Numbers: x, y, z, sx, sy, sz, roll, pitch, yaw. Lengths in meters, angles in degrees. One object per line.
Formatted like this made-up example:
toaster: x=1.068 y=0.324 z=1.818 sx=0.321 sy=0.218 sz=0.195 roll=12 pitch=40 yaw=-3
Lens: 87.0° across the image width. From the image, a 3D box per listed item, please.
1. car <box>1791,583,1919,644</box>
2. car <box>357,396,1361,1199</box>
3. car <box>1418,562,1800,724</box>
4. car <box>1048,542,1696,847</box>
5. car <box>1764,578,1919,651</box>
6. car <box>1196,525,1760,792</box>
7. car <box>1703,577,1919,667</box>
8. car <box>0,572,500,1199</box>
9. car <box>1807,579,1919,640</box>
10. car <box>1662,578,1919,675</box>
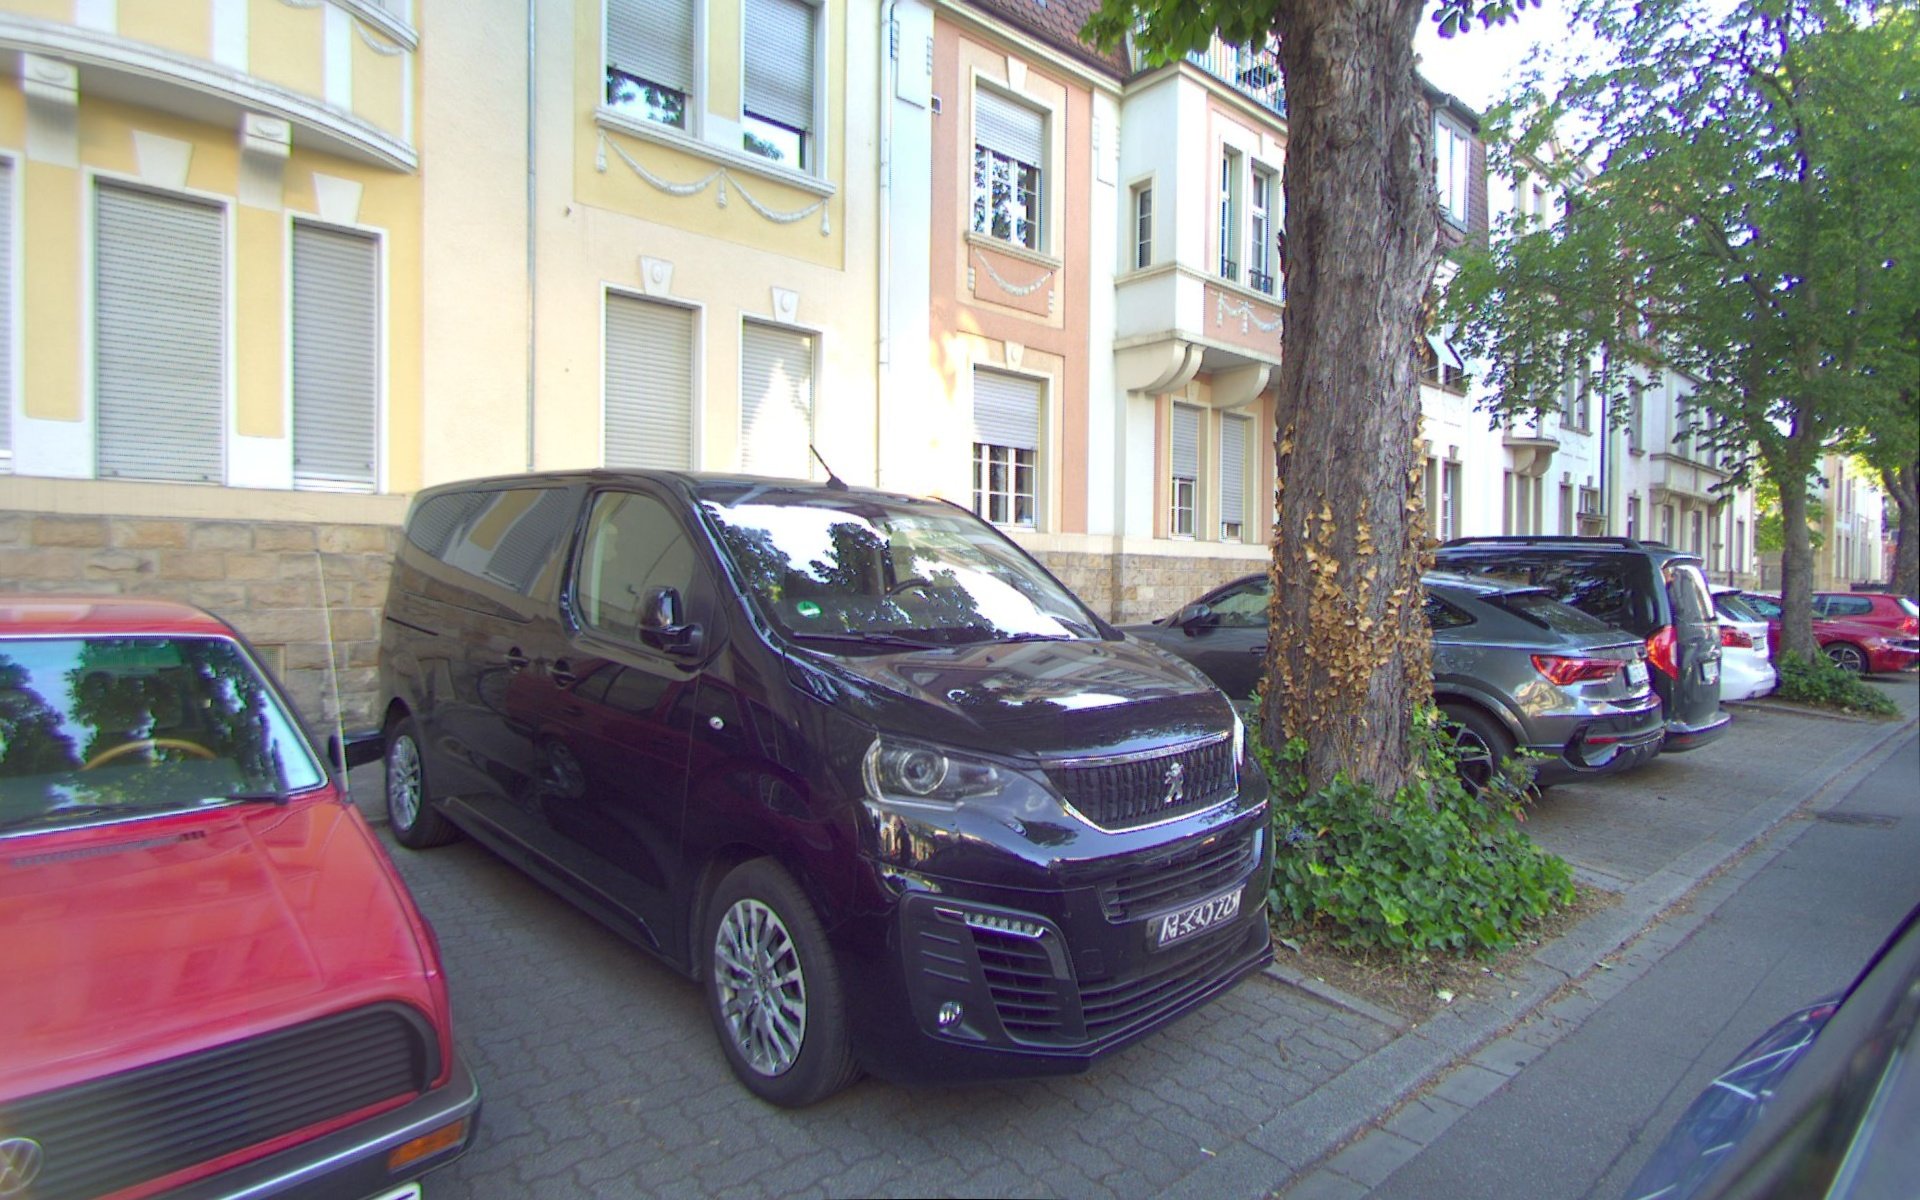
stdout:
car: x=23.972 y=0.338 z=26.151 sx=1.511 sy=1.420 sz=3.621 roll=0 pitch=3 yaw=-40
car: x=-0.994 y=0.348 z=4.526 sx=1.851 sy=1.846 sz=4.825 roll=-1 pitch=4 yaw=-44
car: x=7.712 y=0.388 z=12.256 sx=1.513 sy=1.569 sz=3.616 roll=-1 pitch=3 yaw=-45
car: x=2.762 y=0.416 z=7.534 sx=1.569 sy=1.611 sz=4.165 roll=-1 pitch=4 yaw=-44
car: x=21.618 y=0.320 z=24.088 sx=1.511 sy=1.584 sz=3.621 roll=0 pitch=2 yaw=-40
car: x=4.361 y=0.280 z=9.041 sx=1.569 sy=1.849 sz=4.165 roll=-1 pitch=4 yaw=-44
car: x=16.861 y=0.373 z=19.664 sx=1.511 sy=1.482 sz=3.621 roll=0 pitch=3 yaw=-40
car: x=-2.814 y=0.654 z=2.972 sx=1.532 sy=1.336 sz=3.917 roll=-1 pitch=4 yaw=-43
car: x=25.921 y=0.257 z=27.971 sx=1.511 sy=1.584 sz=3.621 roll=0 pitch=2 yaw=-40
car: x=14.919 y=0.397 z=18.078 sx=1.511 sy=1.420 sz=3.621 roll=0 pitch=3 yaw=-40
